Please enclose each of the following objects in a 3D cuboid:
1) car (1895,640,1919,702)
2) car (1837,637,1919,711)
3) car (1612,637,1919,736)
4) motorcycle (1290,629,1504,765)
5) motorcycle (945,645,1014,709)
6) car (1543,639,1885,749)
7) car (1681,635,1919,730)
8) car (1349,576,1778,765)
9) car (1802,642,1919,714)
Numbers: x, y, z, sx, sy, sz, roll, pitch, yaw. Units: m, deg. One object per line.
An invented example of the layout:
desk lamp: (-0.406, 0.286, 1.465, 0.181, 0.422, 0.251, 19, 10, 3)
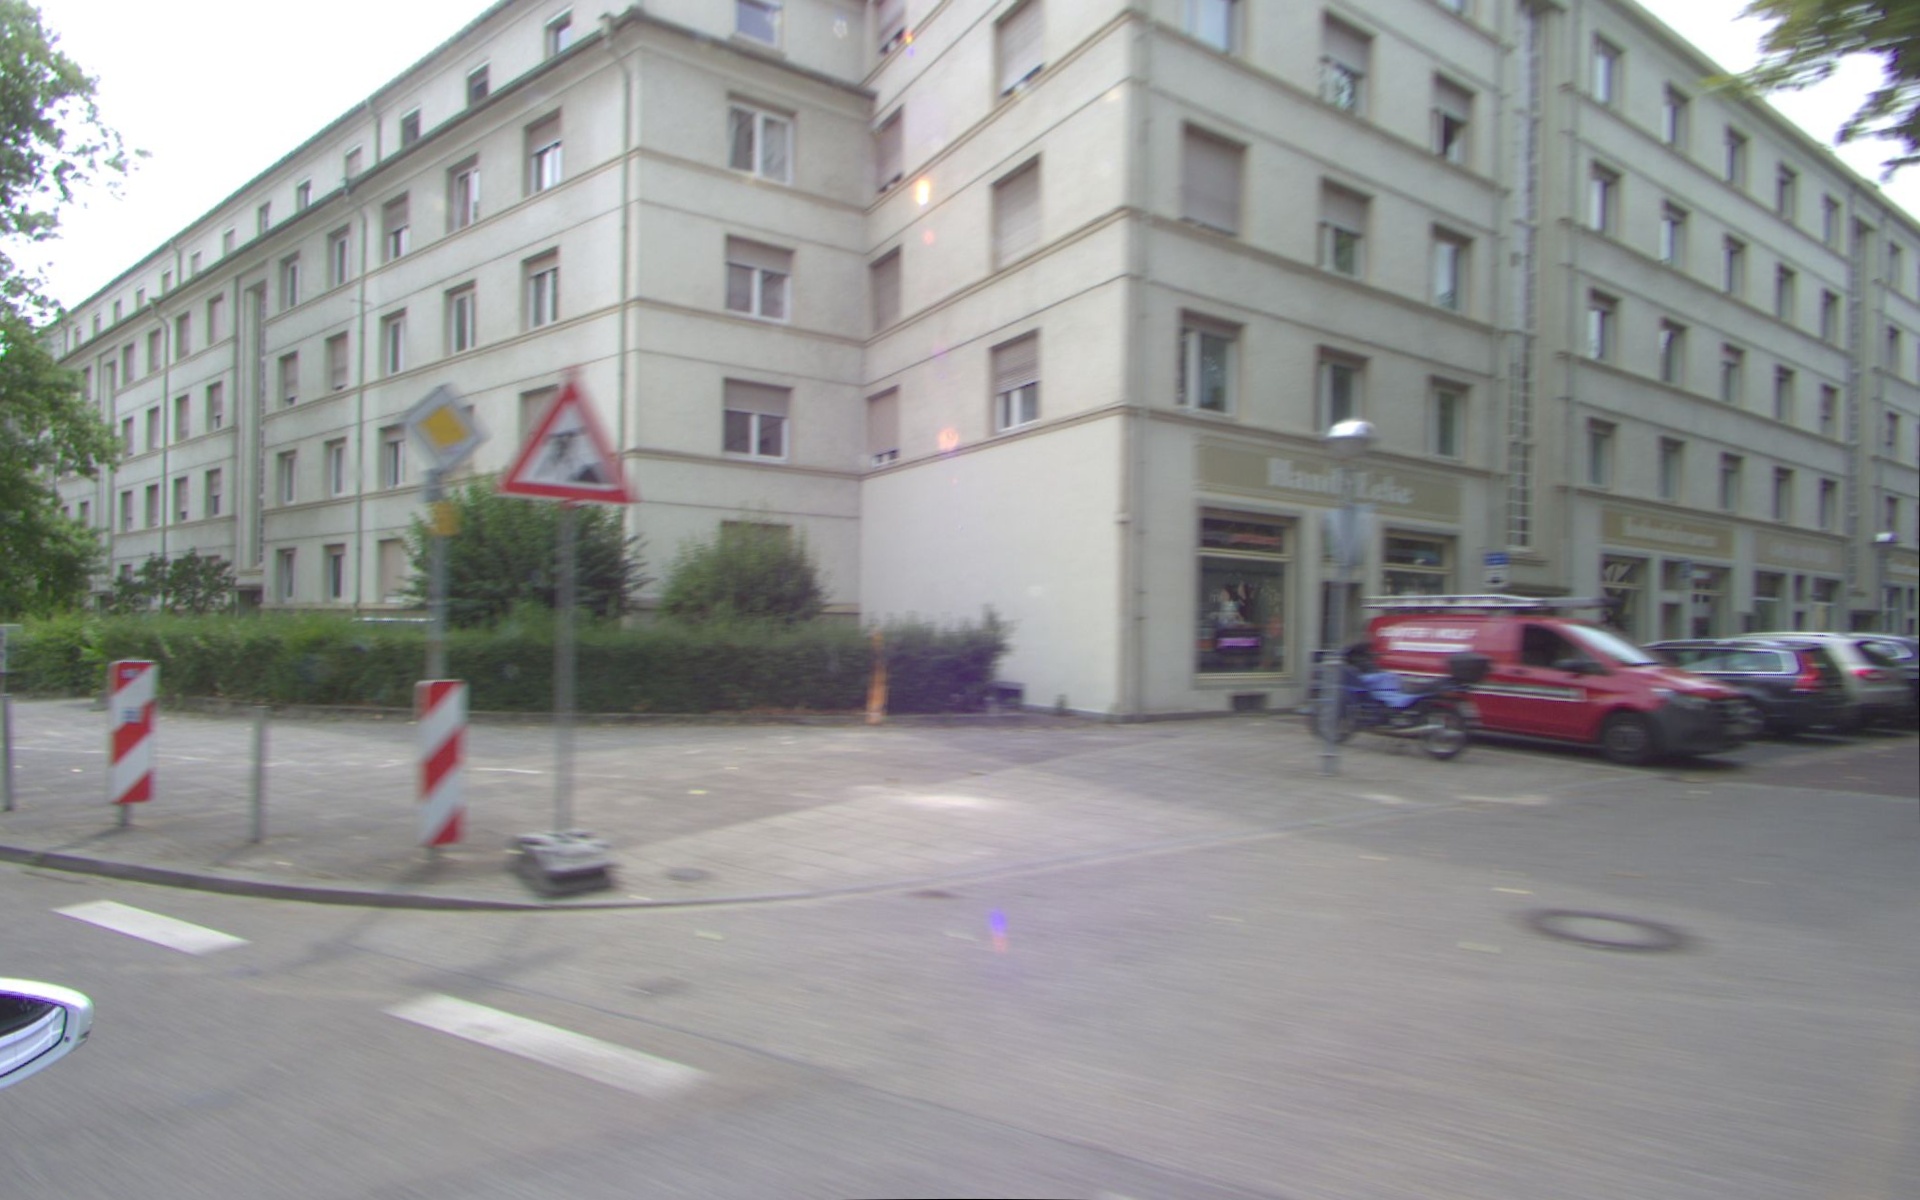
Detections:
car: (28.965, 2.031, 27.903, 1.975, 1.750, 3.973, 2, -2, -35)
car: (24.706, 1.855, 24.822, 1.975, 1.820, 4.166, 2, -2, -35)
car: (14.477, 1.454, 18.038, 1.974, 1.506, 4.168, 2, -2, -34)
motorcycle: (5.406, 1.145, 12.517, 2.281, 1.481, 0.827, 1, -1, 45)
motorcycle: (0.329, 1.335, 17.673, 0.428, 1.029, 1.438, 2, 0, -36)
car: (12.383, 1.447, 16.712, 1.974, 1.523, 4.168, 2, -2, -34)
car: (16.517, 1.498, 19.027, 1.974, 1.611, 4.168, 2, -2, -34)
car: (8.209, 0.890, 14.123, 1.974, 2.177, 4.813, 2, -2, -34)
car: (22.607, 1.830, 23.397, 1.975, 1.611, 4.166, 2, -2, -35)
